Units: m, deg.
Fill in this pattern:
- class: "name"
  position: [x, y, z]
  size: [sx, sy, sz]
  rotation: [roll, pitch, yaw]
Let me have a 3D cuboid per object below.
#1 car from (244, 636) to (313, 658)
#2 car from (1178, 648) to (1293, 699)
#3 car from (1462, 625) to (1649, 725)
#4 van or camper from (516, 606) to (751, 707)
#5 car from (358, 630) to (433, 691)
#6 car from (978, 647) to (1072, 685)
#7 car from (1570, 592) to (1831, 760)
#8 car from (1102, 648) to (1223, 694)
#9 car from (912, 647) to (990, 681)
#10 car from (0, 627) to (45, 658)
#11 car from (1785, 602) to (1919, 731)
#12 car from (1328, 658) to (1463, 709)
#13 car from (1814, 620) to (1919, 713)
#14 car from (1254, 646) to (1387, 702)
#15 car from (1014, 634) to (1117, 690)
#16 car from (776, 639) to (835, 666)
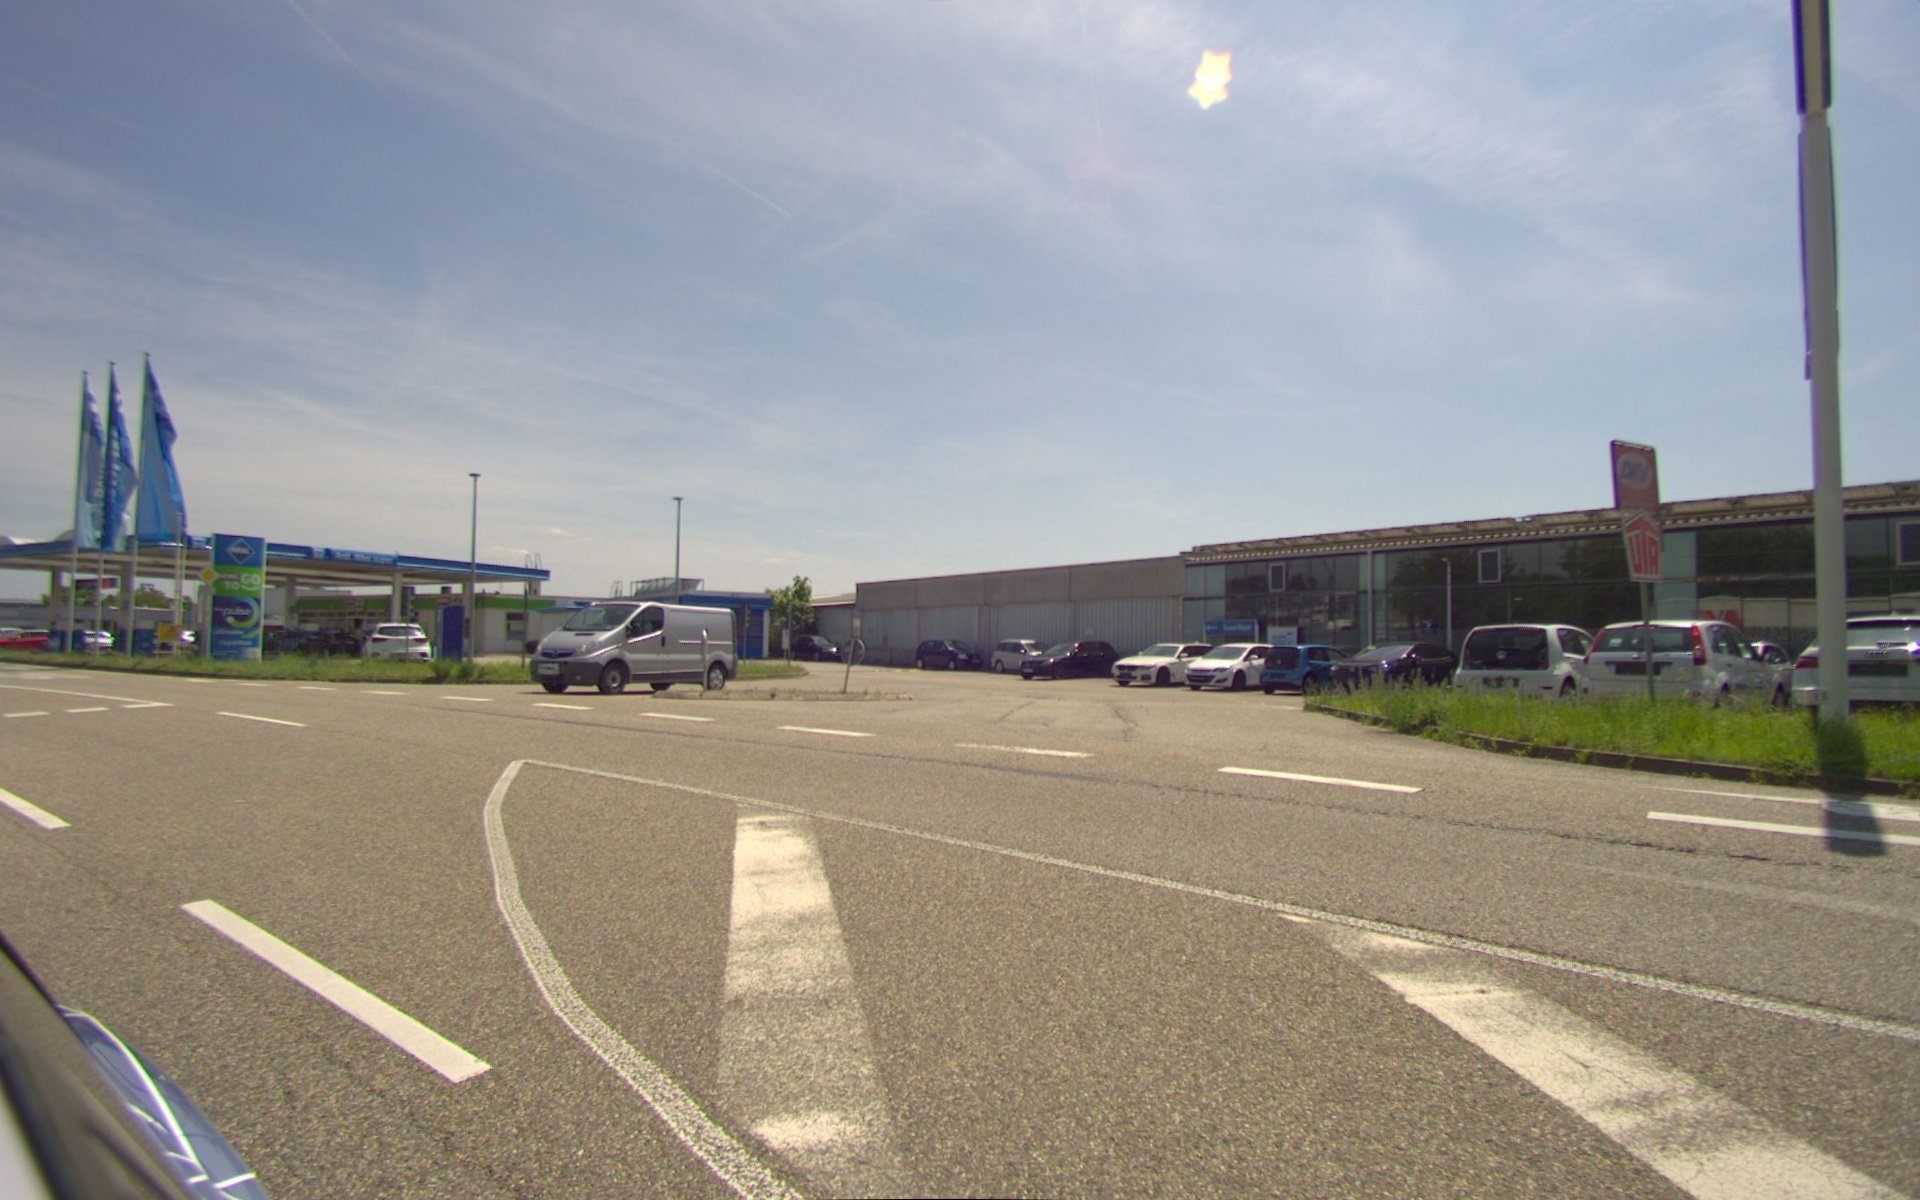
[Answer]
- class: "car"
  position: [-45.586, 3.162, 67.696]
  size: [4.361, 1.389, 1.981]
  rotation: [-1, -3, 27]
- class: "car"
  position: [8.821, 2.326, 32.292]
  size: [3.810, 1.508, 1.846]
  rotation: [4, -4, -43]
- class: "car"
  position: [9.707, 1.170, 16.423]
  size: [3.399, 1.452, 1.566]
  rotation: [3, -3, -40]
- class: "van or camper"
  position: [-6.880, 1.218, 21.946]
  size: [1.896, 1.919, 4.814]
  rotation: [-1, -3, 29]
- class: "car"
  position: [-18.309, 1.885, 32.732]
  size: [1.837, 1.725, 4.532]
  rotation: [1, 0, -33]
- class: "car"
  position: [2.719, 2.813, 43.491]
  size: [1.887, 1.439, 4.113]
  rotation: [1, -2, -35]
- class: "car"
  position: [10.495, 1.028, 14.274]
  size: [3.936, 2.029, 2.004]
  rotation: [3, -4, -39]
- class: "car"
  position: [6.907, 2.383, 34.328]
  size: [3.936, 1.453, 2.004]
  rotation: [3, -4, -39]
- class: "car"
  position: [-0.452, 2.983, 47.948]
  size: [1.731, 1.453, 3.908]
  rotation: [1, -2, -37]
- class: "car"
  position: [-61.310, 2.687, 64.512]
  size: [1.992, 1.918, 3.959]
  rotation: [-1, -3, 30]
- class: "car"
  position: [11.746, 0.800, 12.165]
  size: [4.182, 1.369, 2.004]
  rotation: [3, -4, -39]
- class: "car"
  position: [12.038, 2.271, 27.903]
  size: [3.935, 1.256, 1.773]
  rotation: [3, -4, -38]
- class: "car"
  position: [17.926, 1.202, 19.260]
  size: [3.935, 1.594, 1.822]
  rotation: [1, -1, -38]
- class: "car"
  position: [10.827, 2.177, 30.313]
  size: [3.936, 1.542, 2.003]
  rotation: [3, -3, -39]
- class: "car"
  position: [4.058, 2.332, 38.832]
  size: [3.935, 2.029, 1.601]
  rotation: [1, -2, -38]
- class: "car"
  position: [-8.904, 2.965, 58.054]
  size: [1.731, 1.453, 3.908]
  rotation: [1, -2, -37]
